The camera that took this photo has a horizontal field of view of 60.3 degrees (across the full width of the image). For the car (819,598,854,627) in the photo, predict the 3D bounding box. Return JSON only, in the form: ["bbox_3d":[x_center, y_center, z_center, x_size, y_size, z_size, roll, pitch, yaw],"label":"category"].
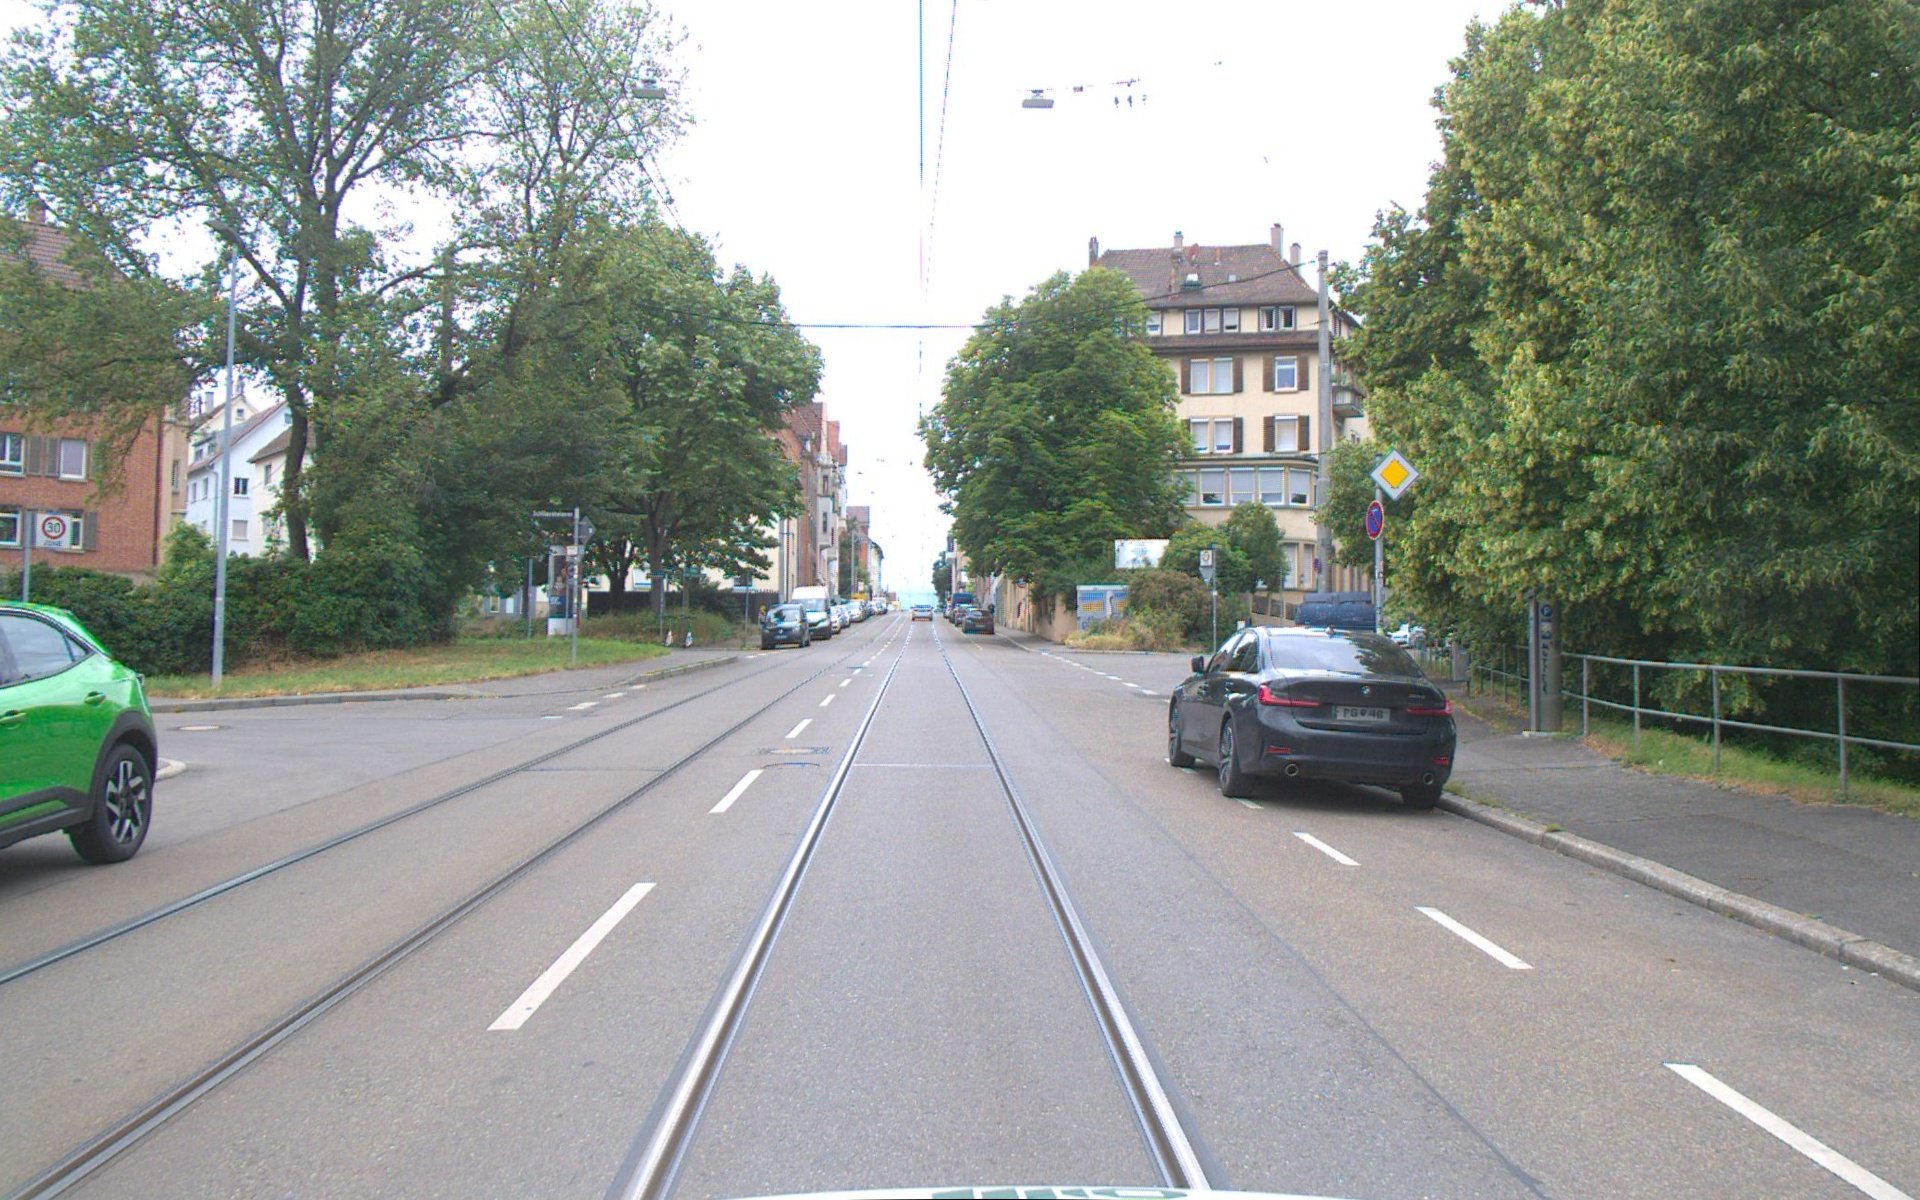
[{"bbox_3d":[-8.243,0.849,110.454,1.953,1.844,4.311,1,-1,0],"label":"car"}]

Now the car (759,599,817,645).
[{"bbox_3d":[-7.123,0.925,68.842,1.953,1.840,3.999,1,-1,0],"label":"car"}]

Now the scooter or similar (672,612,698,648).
[{"bbox_3d":[-10.599,1.159,63.784,0.677,1.362,1.638,1,-1,0],"label":"scooter or similar"}]

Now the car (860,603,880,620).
[{"bbox_3d":[-9.049,1.188,166.655,1.953,1.629,3.998,1,-1,-2],"label":"car"}]

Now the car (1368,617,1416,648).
[{"bbox_3d":[23.952,1.814,91.659,1.953,1.646,3.998,1,-1,24],"label":"car"}]

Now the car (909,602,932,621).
[{"bbox_3d":[-3.451,0.984,142.977,1.953,1.525,4.310,1,-1,-2],"label":"car"}]

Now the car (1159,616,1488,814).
[{"bbox_3d":[3.103,0.917,15.209,1.791,1.455,4.845,2,-1,-2],"label":"car"}]

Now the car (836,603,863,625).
[{"bbox_3d":[-8.486,1.070,127.139,1.885,1.629,3.999,1,-1,-1],"label":"car"}]

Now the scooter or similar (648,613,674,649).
[{"bbox_3d":[-11.535,1.178,63.833,0.677,1.362,1.638,1,-1,0],"label":"scooter or similar"}]

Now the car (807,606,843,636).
[{"bbox_3d":[-7.617,1.175,93.636,1.954,1.628,4.309,1,-1,-3],"label":"car"}]

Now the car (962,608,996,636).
[{"bbox_3d":[1.089,1.299,98.001,1.953,1.557,4.311,1,-1,0],"label":"car"}]

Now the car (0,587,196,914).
[{"bbox_3d":[-5.577,0.750,8.205,1.688,1.607,4.179,-1,0,-1],"label":"car"}]

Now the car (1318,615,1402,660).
[{"bbox_3d":[14.445,1.356,59.569,1.955,1.505,4.458,0,-1,27],"label":"car"}]

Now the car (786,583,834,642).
[{"bbox_3d":[-7.529,0.656,83.329,2.186,2.813,5.795,1,-1,-3],"label":"car"}]

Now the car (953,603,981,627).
[{"bbox_3d":[0.466,1.088,119.257,1.953,1.747,3.999,0,-1,-1],"label":"car"}]
